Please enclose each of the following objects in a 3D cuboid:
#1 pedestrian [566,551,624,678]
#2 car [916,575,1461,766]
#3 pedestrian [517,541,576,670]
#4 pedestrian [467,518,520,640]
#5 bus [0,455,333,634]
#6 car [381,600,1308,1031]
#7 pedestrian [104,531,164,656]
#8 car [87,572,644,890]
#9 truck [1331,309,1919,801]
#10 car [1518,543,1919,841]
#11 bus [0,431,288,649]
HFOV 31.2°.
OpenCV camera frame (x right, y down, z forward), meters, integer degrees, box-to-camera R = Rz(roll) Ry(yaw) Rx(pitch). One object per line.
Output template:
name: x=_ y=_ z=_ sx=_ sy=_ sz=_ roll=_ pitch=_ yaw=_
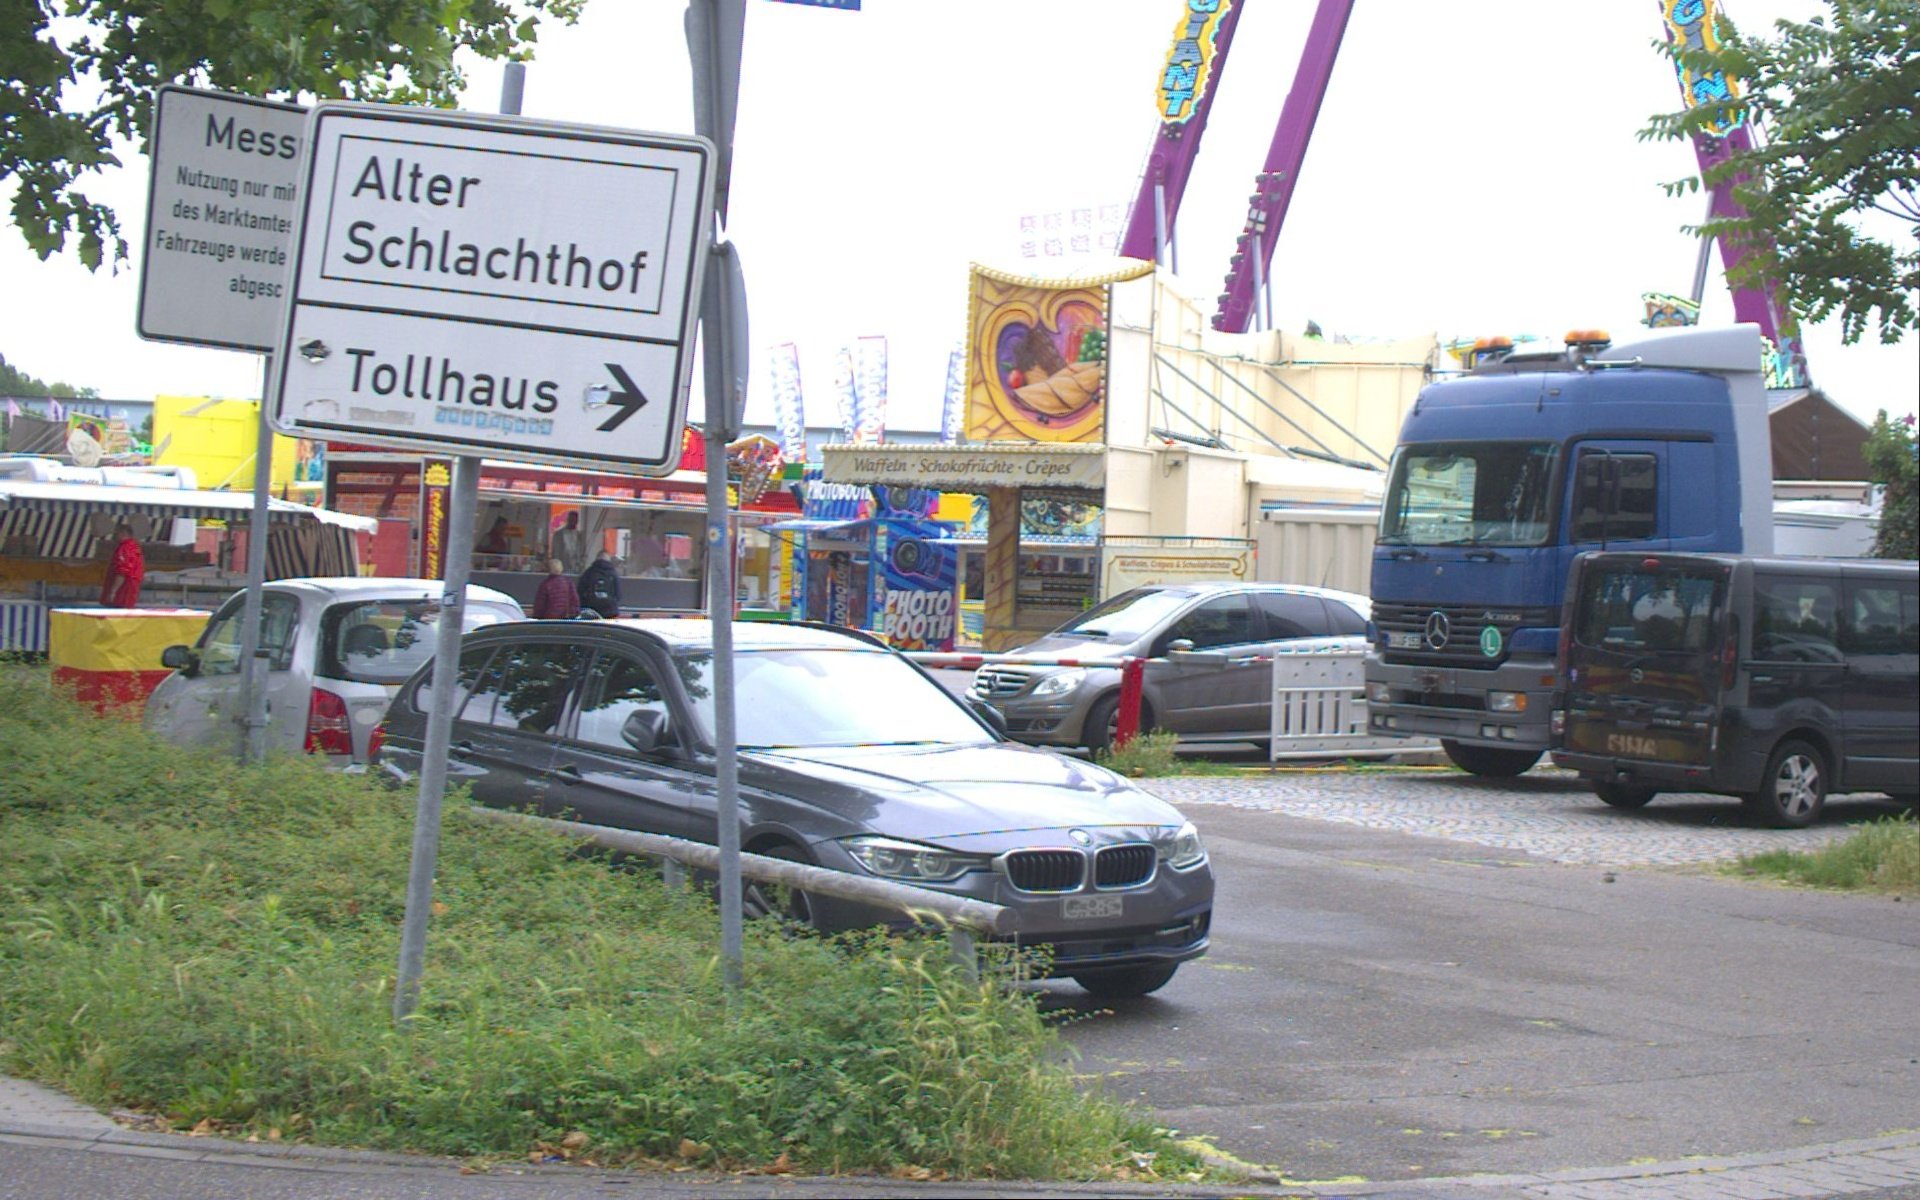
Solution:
pedestrian: x=-4.911 y=0.195 z=46.240 sx=0.494 sy=1.681 sz=0.522 roll=2 pitch=0 yaw=42
car: x=2.095 y=0.647 z=31.037 sx=4.573 sy=1.570 sz=2.000 roll=2 pitch=0 yaw=-33
pedestrian: x=-5.475 y=0.078 z=45.518 sx=0.494 sy=1.681 sz=0.522 roll=2 pitch=0 yaw=42
pedestrian: x=-6.499 y=-0.290 z=47.868 sx=0.492 sy=1.681 sz=0.523 roll=2 pitch=0 yaw=-34
bus: x=-13.104 y=-0.801 z=45.762 sx=9.277 sy=2.220 sz=2.000 roll=2 pitch=0 yaw=-34
car: x=-0.622 y=0.782 z=14.197 sx=1.863 sy=1.426 sz=3.999 roll=2 pitch=0 yaw=-36
pedestrian: x=-9.753 y=-0.081 z=40.587 sx=0.492 sy=1.458 sz=0.523 roll=2 pitch=0 yaw=-34
car: x=-3.523 y=0.683 z=19.767 sx=1.863 sy=1.589 sz=4.000 roll=2 pitch=0 yaw=-30
truck: x=7.302 y=-0.250 z=29.892 sx=8.190 sy=3.809 sz=2.600 roll=2 pitch=0 yaw=-33
car: x=6.622 y=0.652 z=25.849 sx=4.573 sy=2.006 sz=2.000 roll=1 pitch=2 yaw=-33
bus: x=-14.308 y=-0.911 z=48.641 sx=9.277 sy=2.950 sz=2.000 roll=2 pitch=0 yaw=-34
